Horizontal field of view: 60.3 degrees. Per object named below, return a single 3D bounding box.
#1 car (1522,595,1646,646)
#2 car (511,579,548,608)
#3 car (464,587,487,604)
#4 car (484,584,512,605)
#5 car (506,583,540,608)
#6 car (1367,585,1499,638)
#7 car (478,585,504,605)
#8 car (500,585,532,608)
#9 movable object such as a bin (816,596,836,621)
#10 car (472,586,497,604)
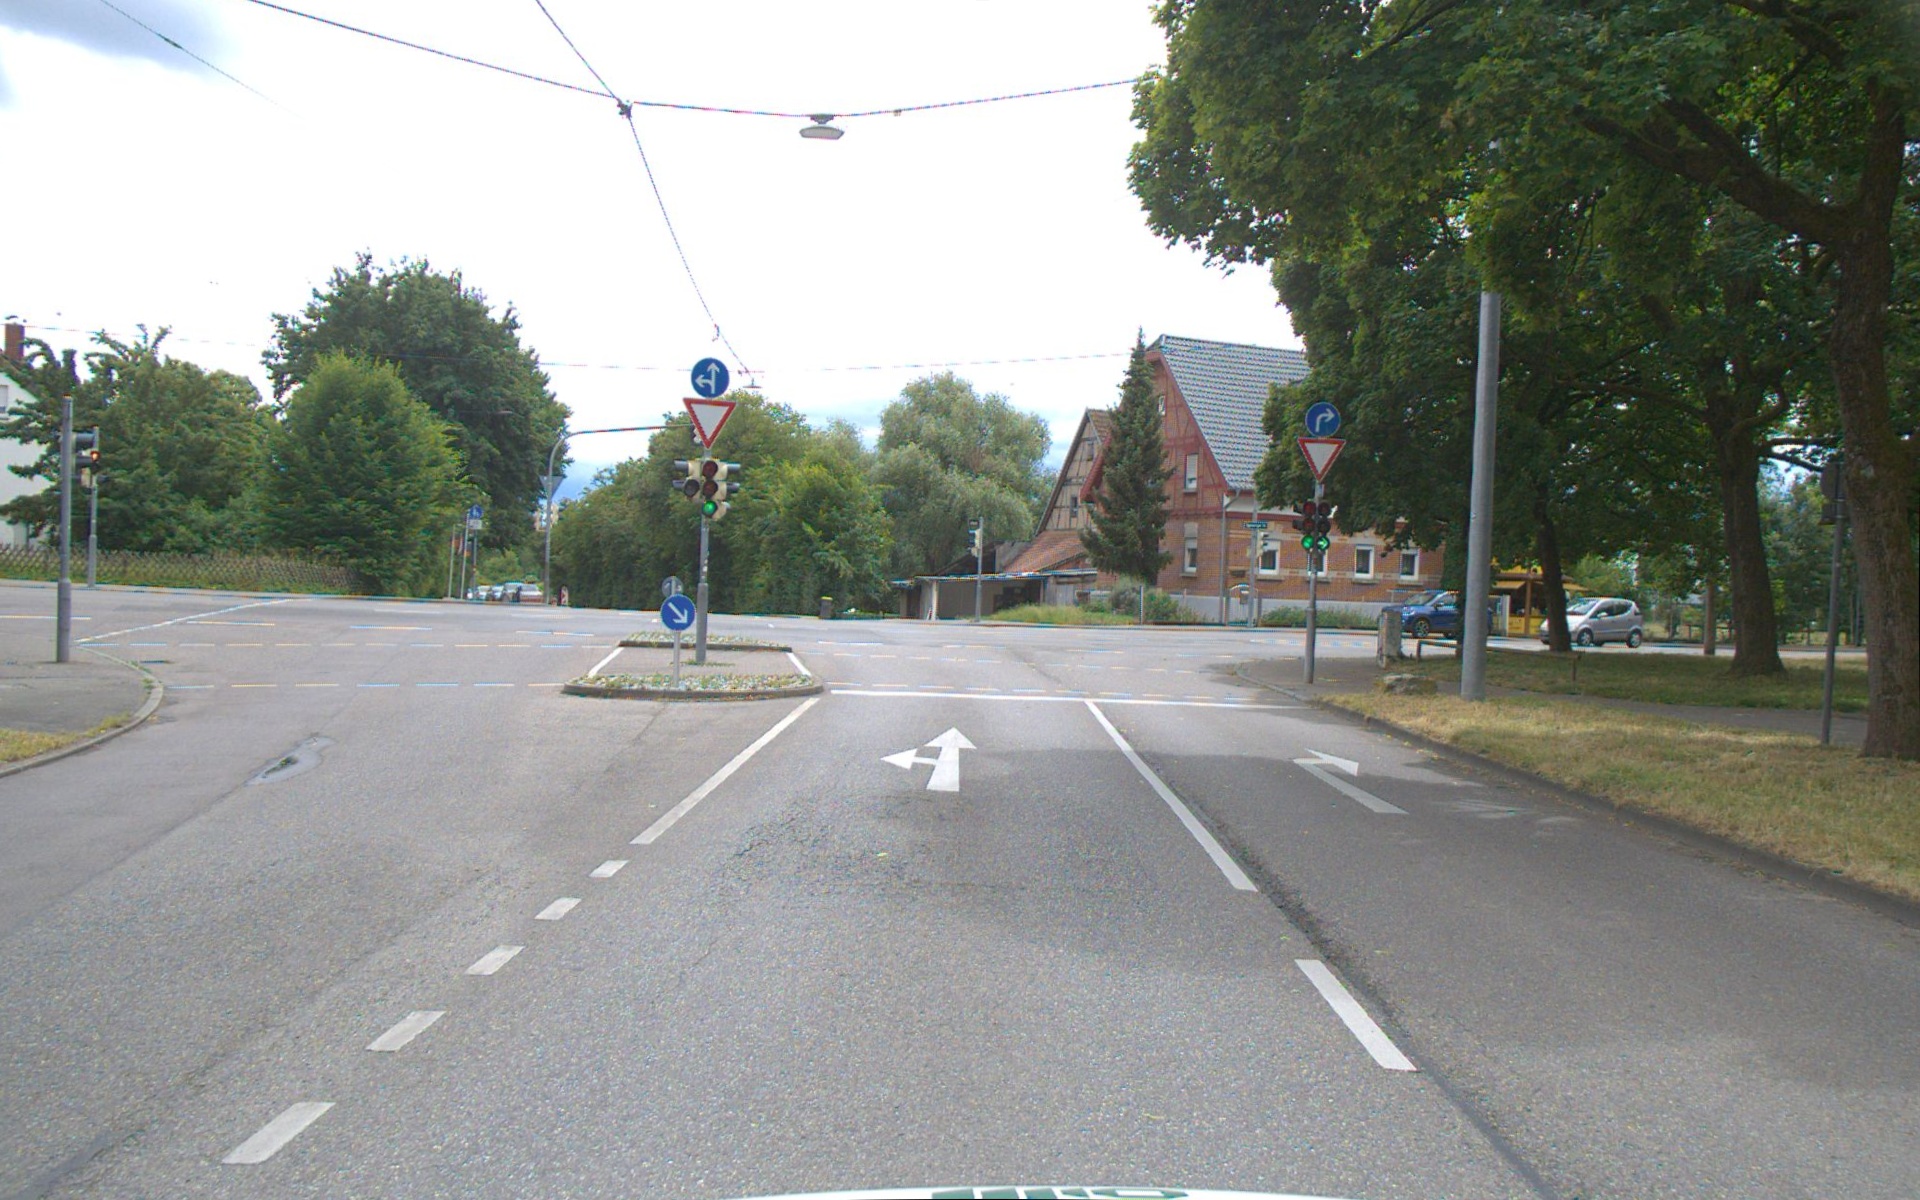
[{"bbox_3d":[20.499,0.663,54.340,3.417,1.557,1.984,1,0,-25],"label":"car"},{"bbox_3d":[-24.595,-0.385,94.415,1.767,1.538,3.979,1,0,-18],"label":"car"},{"bbox_3d":[-43.364,-0.371,148.000,1.767,1.434,3.979,1,0,-18],"label":"car"},{"bbox_3d":[-33.525,-0.428,120.001,1.767,1.434,3.979,1,0,-18],"label":"car"},{"bbox_3d":[-26.600,-0.263,100.538,1.767,1.434,3.979,1,0,-18],"label":"car"},{"bbox_3d":[15.816,0.372,55.357,3.787,1.676,1.989,1,0,-20],"label":"car"},{"bbox_3d":[-35.865,-0.376,126.472,1.767,1.434,3.979,1,0,-18],"label":"car"},{"bbox_3d":[-29.100,-0.243,108.342,1.767,1.434,3.979,1,0,-18],"label":"car"},{"bbox_3d":[-5.532,0.339,68.324,0.625,1.019,0.579,2,-2,-27],"label":"movable object such as a bin"},{"bbox_3d":[-39.504,-0.453,137.347,1.767,1.434,3.979,1,0,-18],"label":"car"}]
